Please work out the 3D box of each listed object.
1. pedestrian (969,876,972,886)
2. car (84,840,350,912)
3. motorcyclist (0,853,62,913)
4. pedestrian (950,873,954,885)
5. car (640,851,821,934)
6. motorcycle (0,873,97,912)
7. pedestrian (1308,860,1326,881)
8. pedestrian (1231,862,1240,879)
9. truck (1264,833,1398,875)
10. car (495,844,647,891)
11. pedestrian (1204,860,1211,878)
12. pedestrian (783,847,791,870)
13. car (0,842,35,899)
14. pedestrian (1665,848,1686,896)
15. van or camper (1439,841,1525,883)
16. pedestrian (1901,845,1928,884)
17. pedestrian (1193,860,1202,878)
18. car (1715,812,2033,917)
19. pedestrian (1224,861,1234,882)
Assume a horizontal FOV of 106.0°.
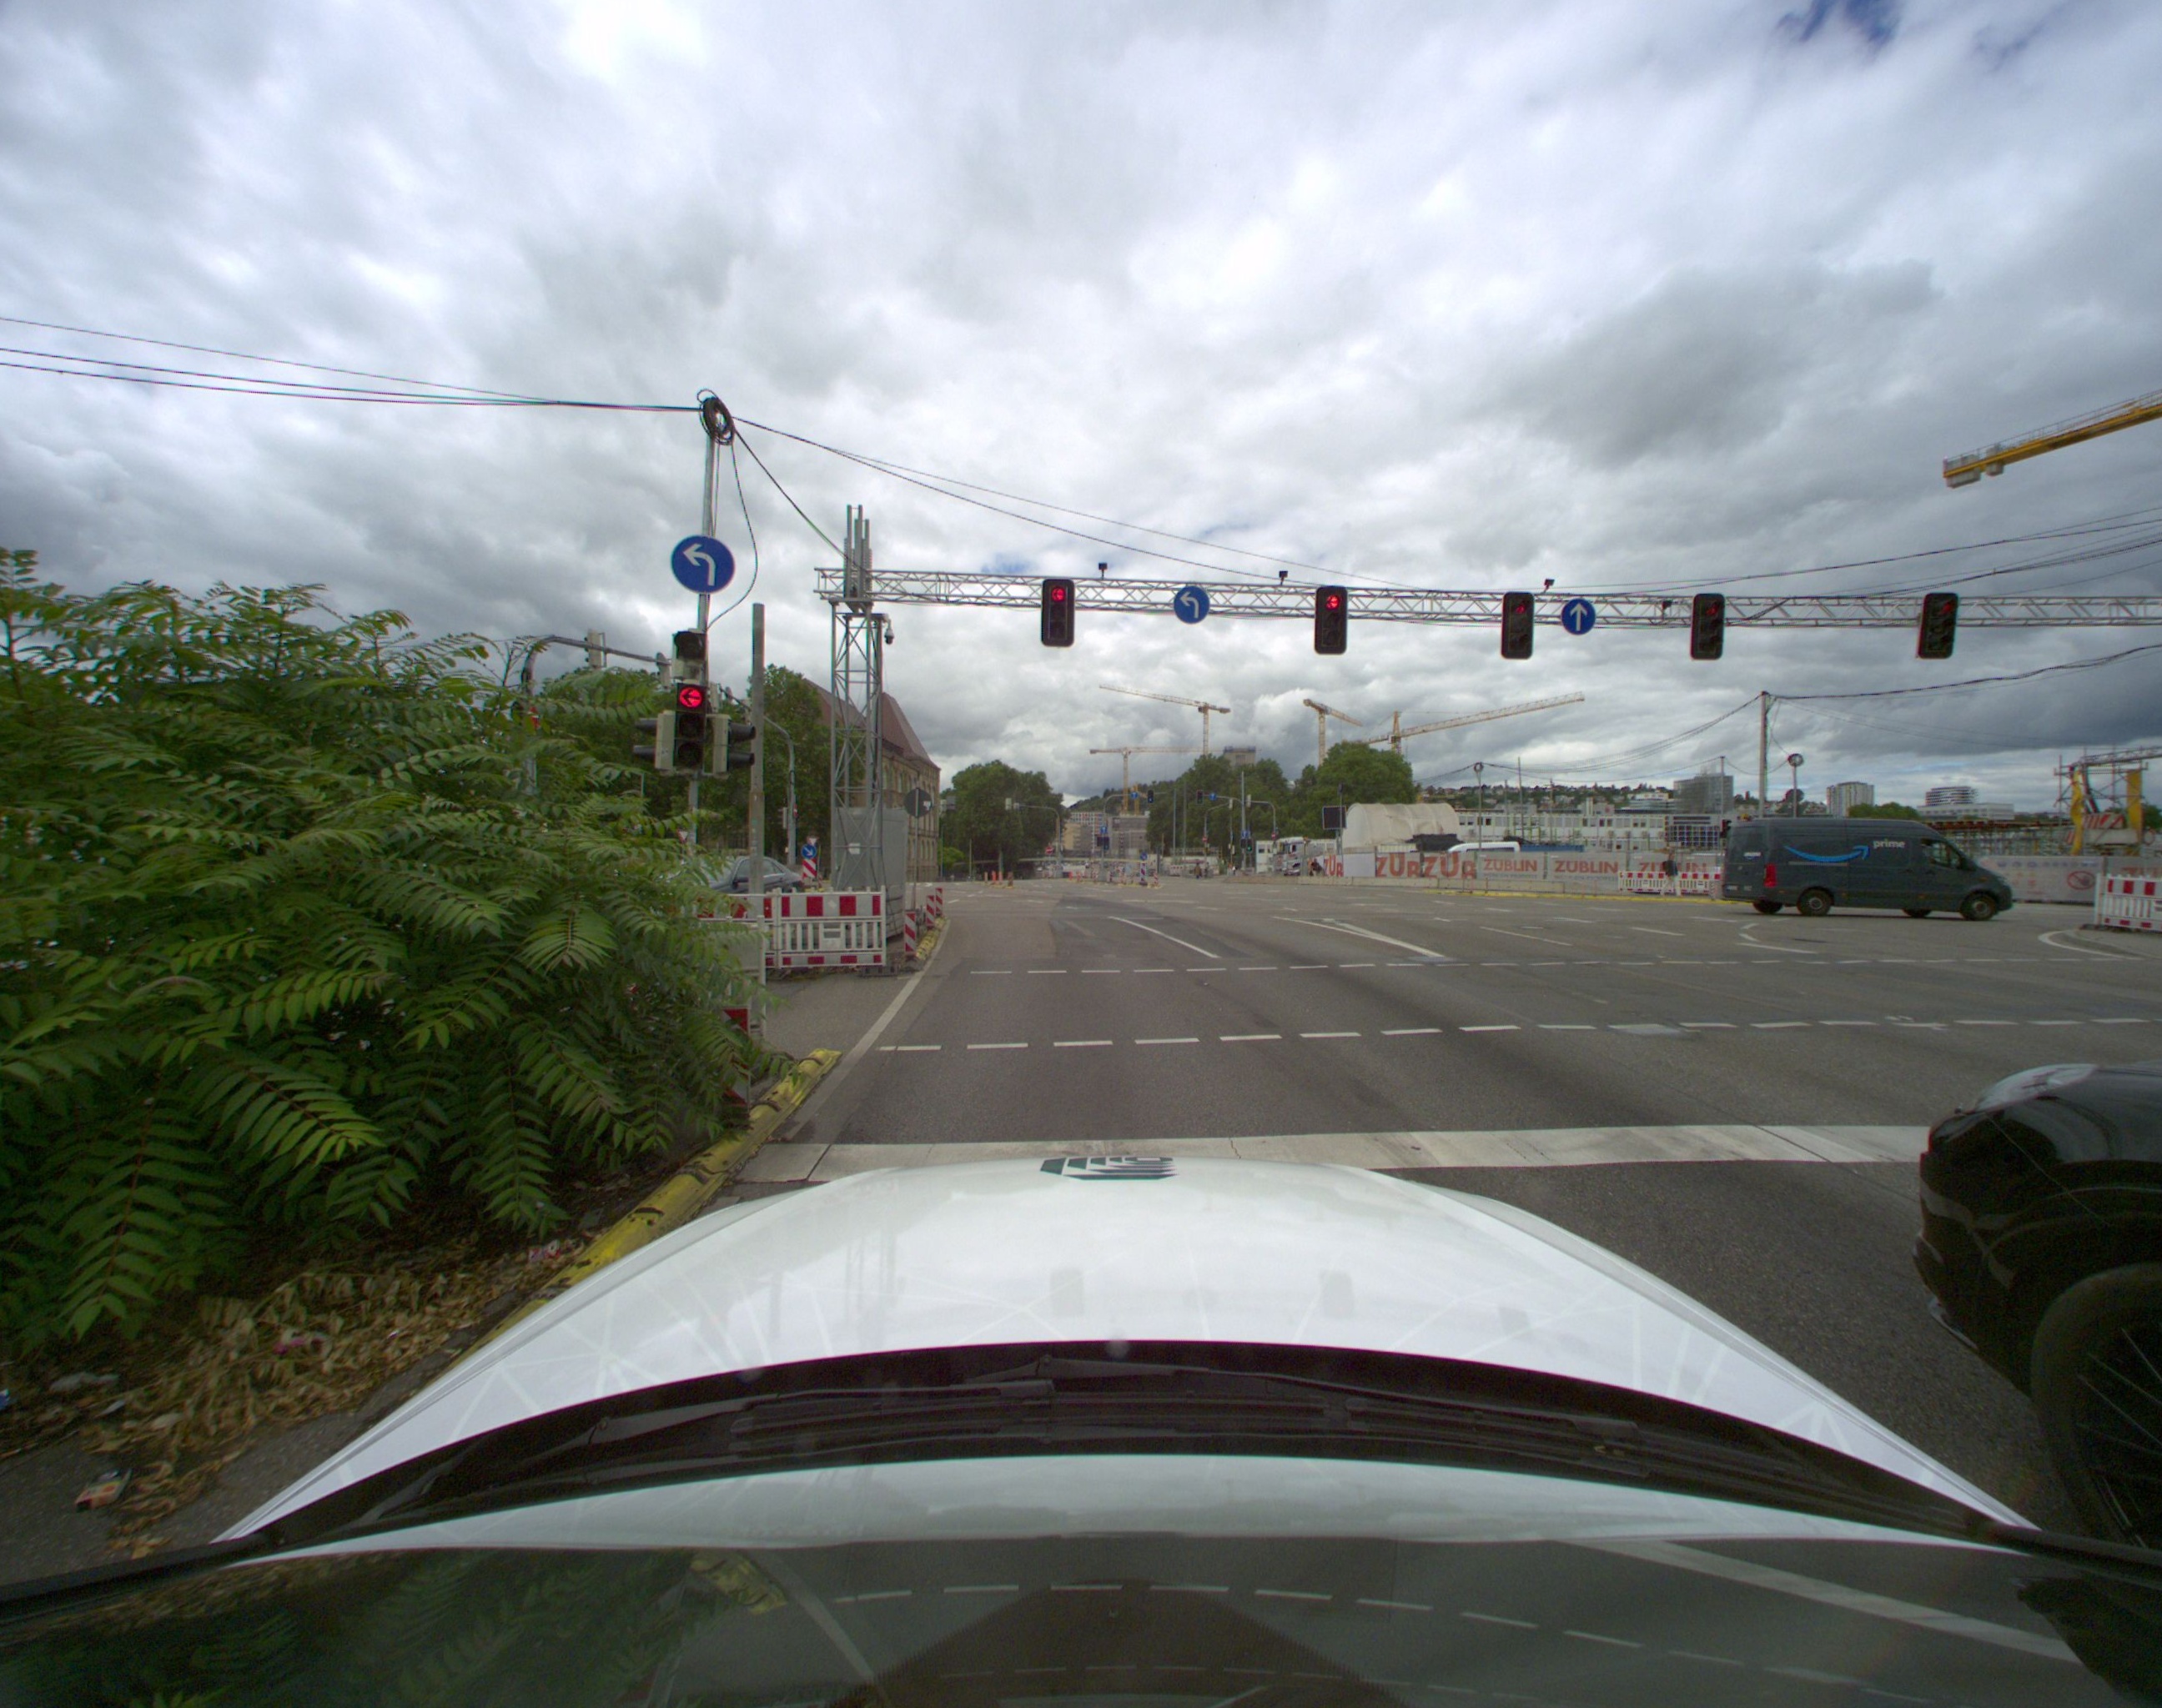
[{"bbox_3d":[-21.525,5.238,159.143,0.522,2.014,0.567,0,0,2],"label":"pedestrian"},{"bbox_3d":[-21.302,0.519,20.249,4.302,1.676,1.998,0,0,-3],"label":"car"},{"bbox_3d":[-25.732,0.688,19.784,0.963,1.423,0.745,0,0,-4],"label":"motorcyclist"},{"bbox_3d":[-21.386,4.097,134.683,0.522,2.014,0.567,0,0,2],"label":"pedestrian"},{"bbox_3d":[-6.960,0.689,16.759,1.695,1.471,4.629,0,0,0],"label":"car"},{"bbox_3d":[-25.478,0.931,19.807,2.051,0.924,0.756,0,0,-4],"label":"motorcycle"},{"bbox_3d":[15.456,1.057,53.326,0.797,1.378,0.901,0,0,-13],"label":"pedestrian"},{"bbox_3d":[14.667,1.564,77.443,0.615,1.689,0.716,0,0,31],"label":"pedestrian"},{"bbox_3d":[25.034,-0.020,81.583,13.062,4.041,3.926,0,0,-18],"label":"truck"},{"bbox_3d":[-18.825,0.496,30.244,4.315,1.676,1.992,0,0,-12],"label":"car"},{"bbox_3d":[11.898,1.383,76.506,0.564,1.689,0.472,0,0,1],"label":"pedestrian"},{"bbox_3d":[-26.746,0.416,74.133,0.530,2.014,0.423,1,-1,-42],"label":"pedestrian"},{"bbox_3d":[-33.508,0.467,23.324,4.302,1.676,1.998,0,0,-3],"label":"car"},{"bbox_3d":[25.318,0.774,34.674,0.645,2.013,0.520,0,0,27],"label":"pedestrian"},{"bbox_3d":[23.147,0.427,47.196,4.181,2.357,2.009,0,0,16],"label":"van or camper"},{"bbox_3d":[38.745,0.501,37.867,0.651,1.795,0.617,0,0,-7],"label":"pedestrian"},{"bbox_3d":[10.934,1.400,76.537,0.726,1.689,0.678,0,0,1],"label":"pedestrian"},{"bbox_3d":[20.718,0.259,21.581,5.958,2.594,2.069,0,0,9],"label":"car"},{"bbox_3d":[12.249,1.463,67.402,0.726,1.689,0.678,0,0,1],"label":"pedestrian"}]
